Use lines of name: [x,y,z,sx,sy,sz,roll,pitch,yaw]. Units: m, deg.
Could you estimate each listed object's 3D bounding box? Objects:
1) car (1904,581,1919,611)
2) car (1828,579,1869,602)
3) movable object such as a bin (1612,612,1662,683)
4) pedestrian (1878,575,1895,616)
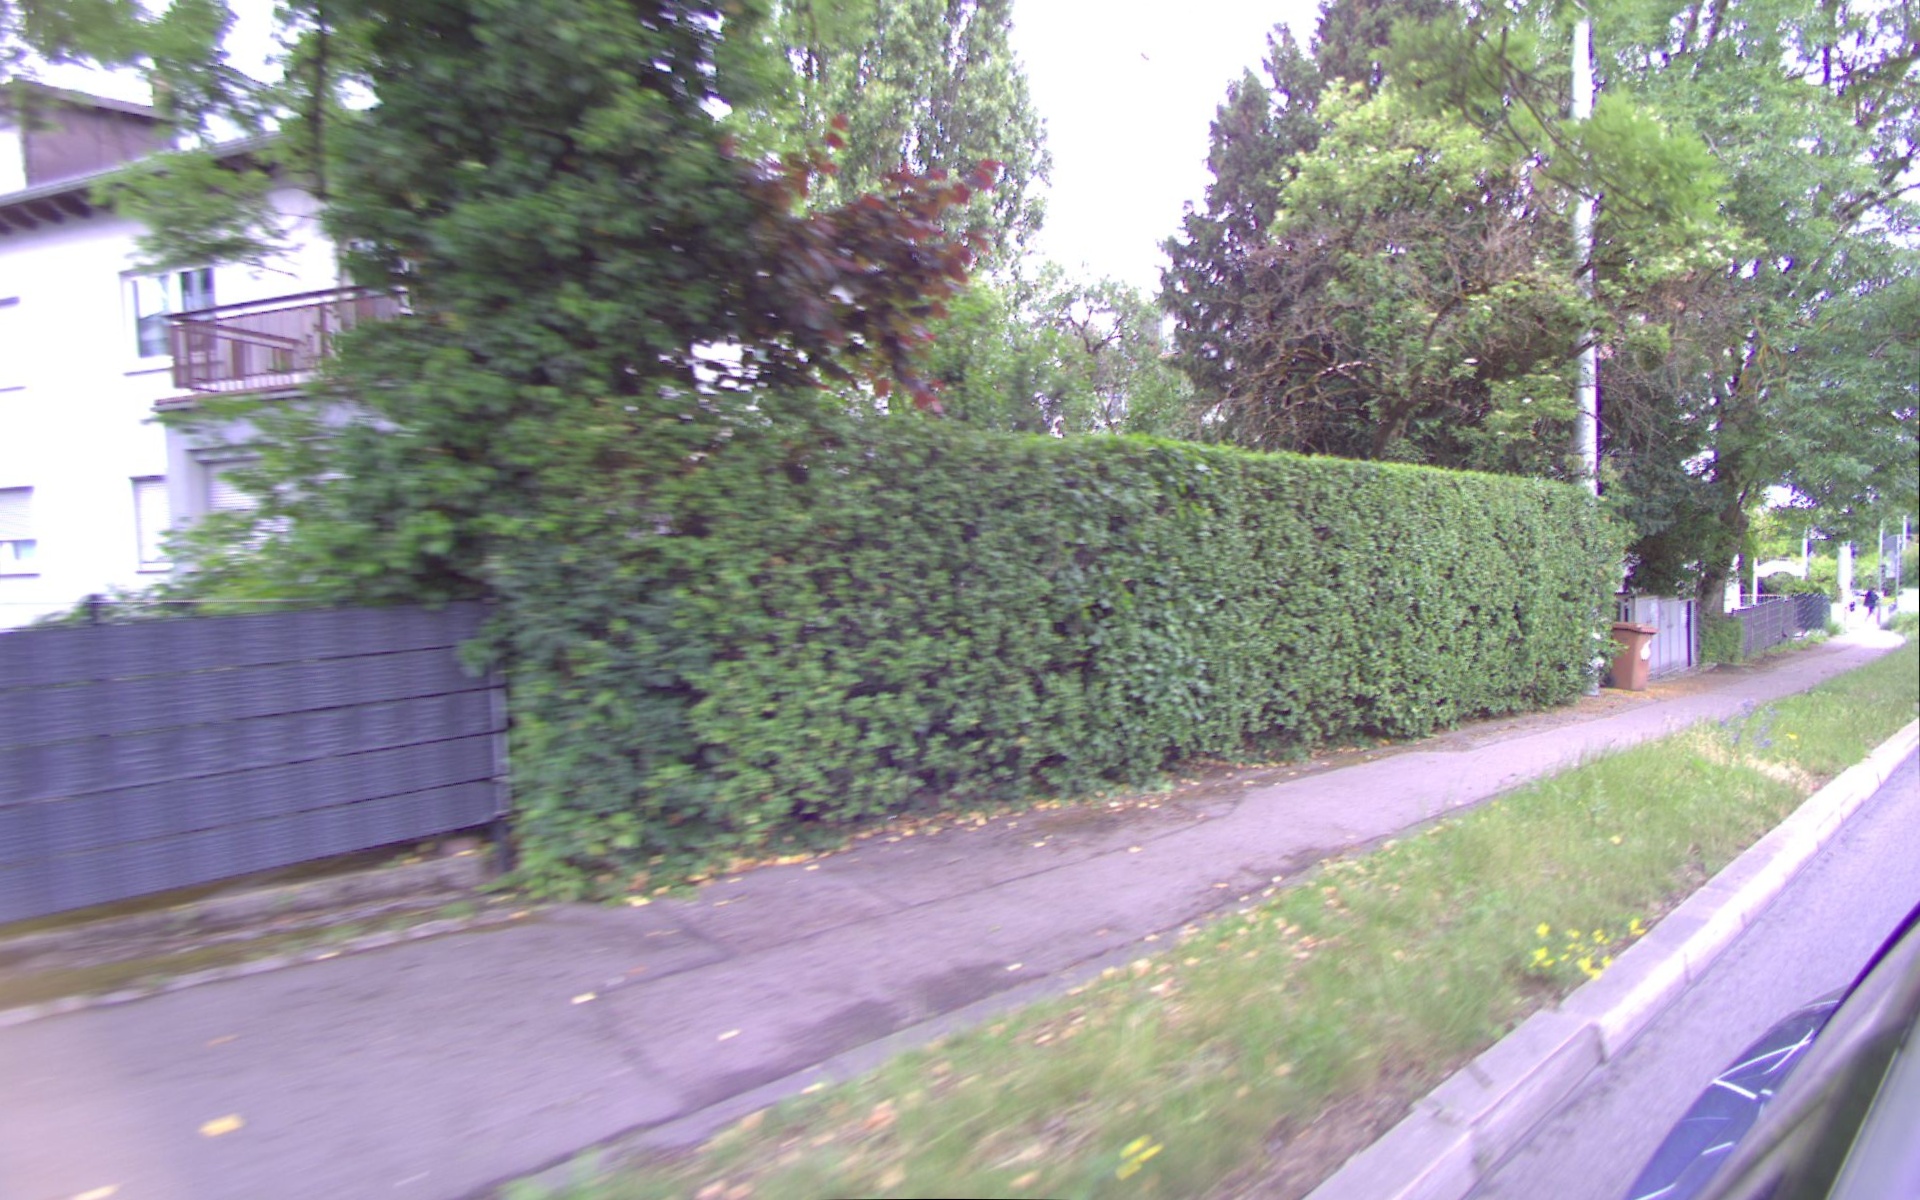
car: [51.406,-0.228,53.642,1.668,1.551,3.945,1,1,38]
car: [67.133,-0.741,76.532,1.989,1.677,4.377,1,1,37]
movable object such as a bin: [9.303,0.642,13.910,0.447,0.922,0.473,0,1,-41]
pedestrian: [41.863,-0.200,45.738,0.486,1.857,0.513,0,1,-42]
